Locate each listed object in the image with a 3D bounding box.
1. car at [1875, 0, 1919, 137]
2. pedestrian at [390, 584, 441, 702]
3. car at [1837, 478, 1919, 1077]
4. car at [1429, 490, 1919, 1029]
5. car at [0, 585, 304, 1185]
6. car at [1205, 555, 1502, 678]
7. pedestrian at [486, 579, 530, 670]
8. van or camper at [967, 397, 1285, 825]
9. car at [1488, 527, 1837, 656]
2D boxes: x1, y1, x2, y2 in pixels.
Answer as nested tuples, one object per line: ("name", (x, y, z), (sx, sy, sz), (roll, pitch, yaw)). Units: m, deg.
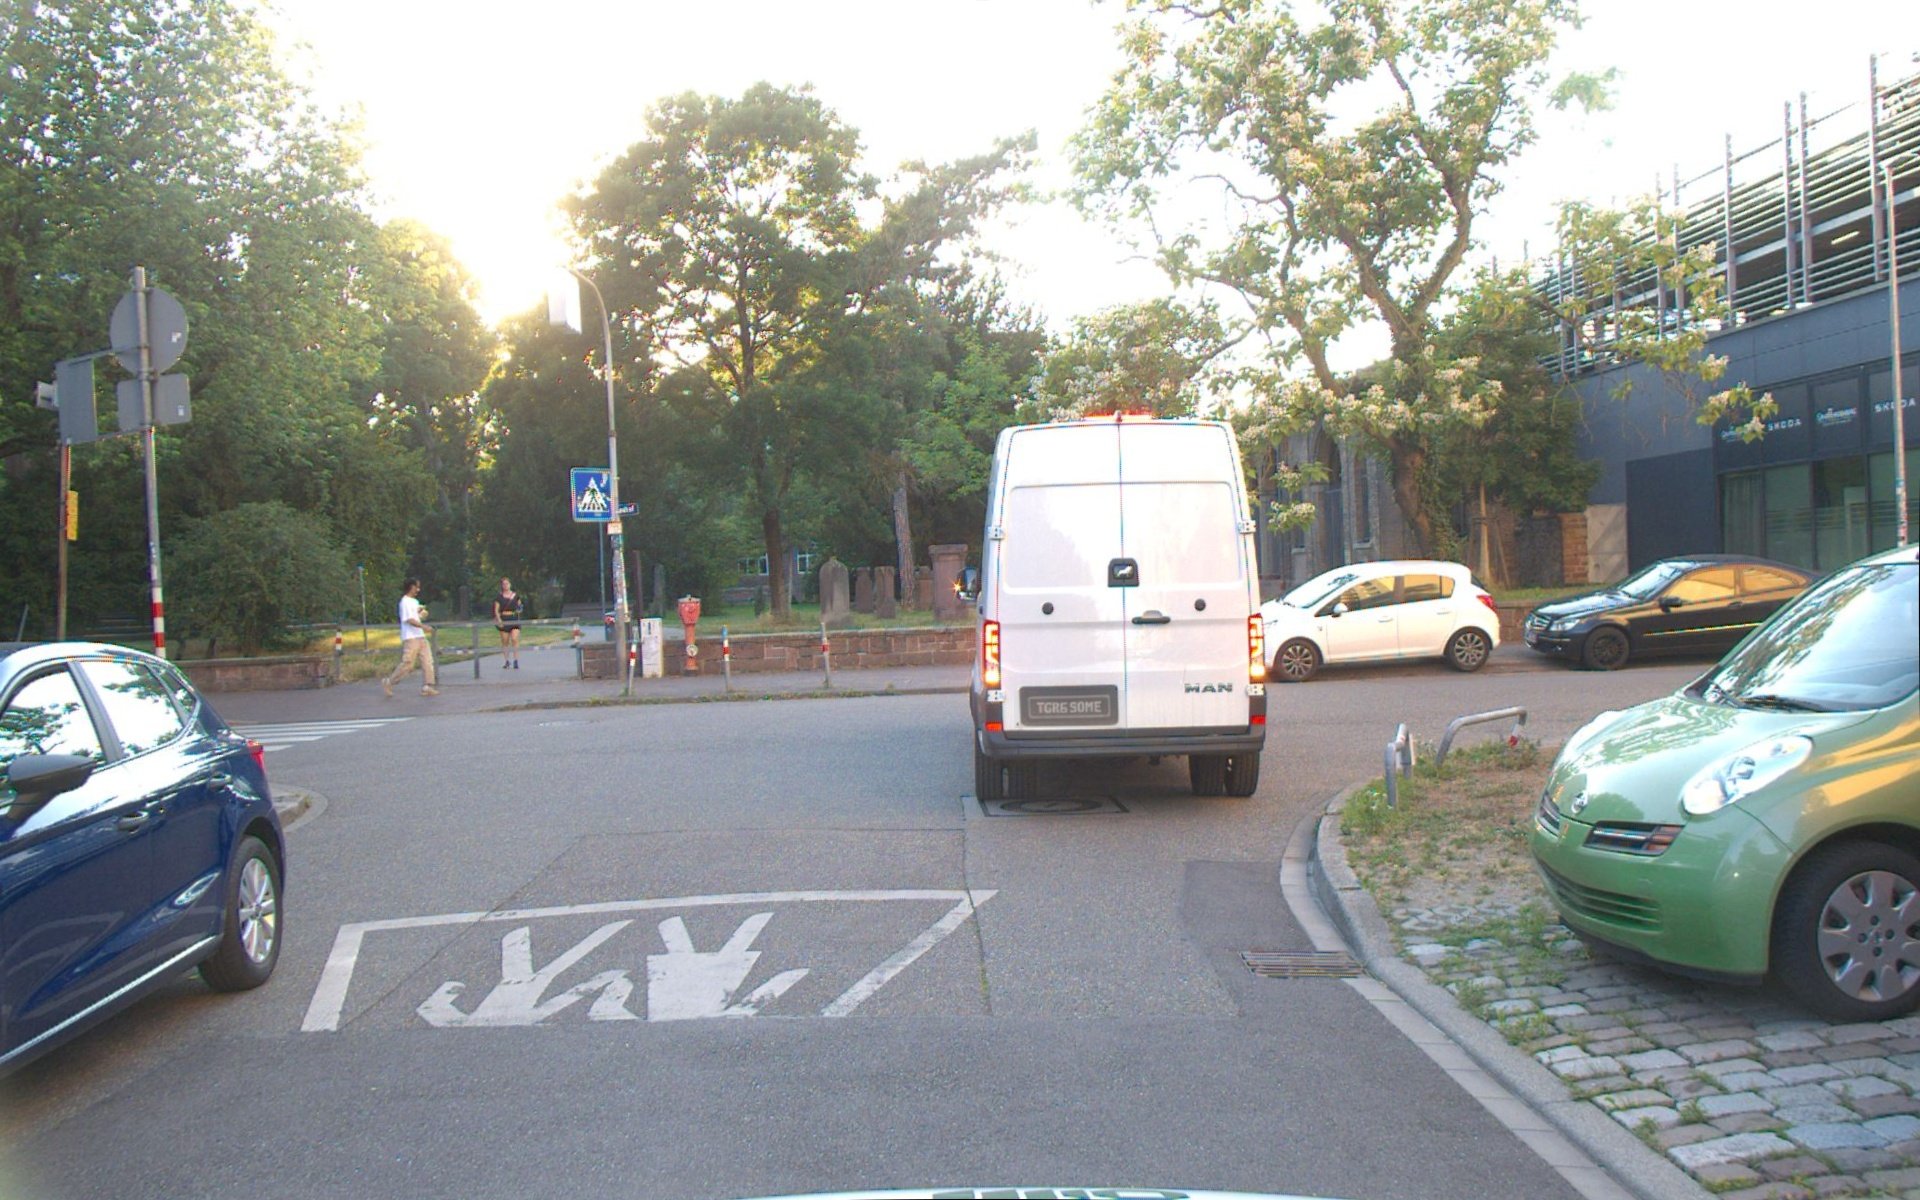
("car", (18.016, -9.708, 28.929), (1.952, 2.049, 4.002), (-1, 0, 3))
("pedestrian", (-8.619, 0.670, 26.207), (0.581, 1.840, 0.620), (-1, 1, -1))
("car", (4.731, 0.271, 3.817), (4.315, 1.659, 1.846), (-6, 0, 0))
("car", (4.279, 0.418, 6.357), (4.318, 1.660, 1.844), (-4, -1, -4))
("car", (-3.530, 0.806, 5.162), (1.700, 1.594, 3.786), (-4, 1, -6))
("car", (5.646, 0.214, 24.069), (3.779, 1.601, 1.957), (-2, 1, -4))
("pedestrian", (-8.477, 0.446, 31.047), (0.633, 1.677, 0.673), (0, 1, -2))
("van or camper", (1.083, 0.048, 13.718), (1.952, 2.664, 6.403), (-2, 0, 0))
("car", (10.016, -0.125, 23.821), (4.204, 1.529, 1.824), (-3, 1, 2))
